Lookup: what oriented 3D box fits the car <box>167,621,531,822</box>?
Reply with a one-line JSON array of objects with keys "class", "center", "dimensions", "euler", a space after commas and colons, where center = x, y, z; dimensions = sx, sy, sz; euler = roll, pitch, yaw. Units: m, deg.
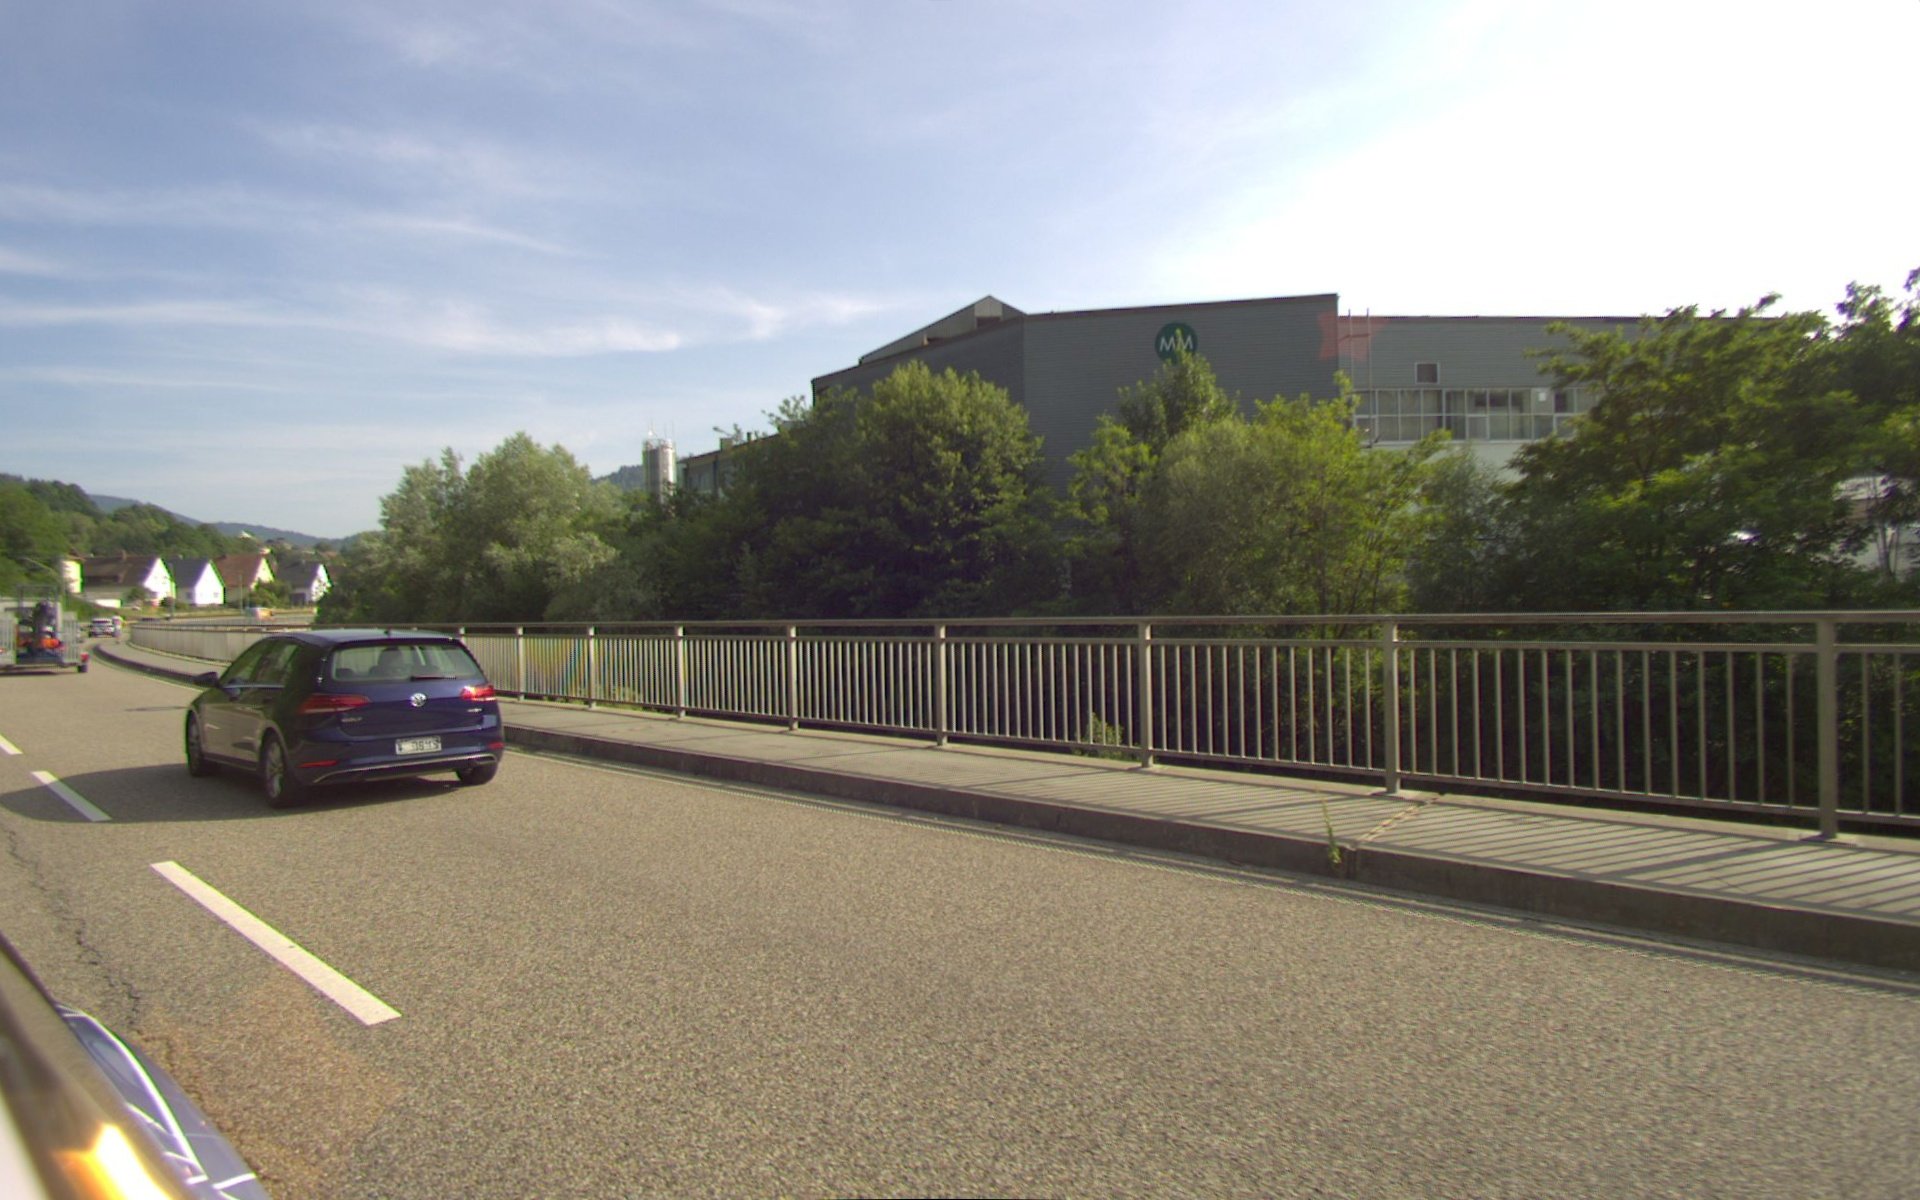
[{"class": "car", "center": [-5.770, 0.925, 9.360], "dimensions": [4.071, 1.442, 1.686], "euler": [-1, -1, 40]}]

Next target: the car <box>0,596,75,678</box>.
[{"class": "car", "center": [-31.888, 1.229, 34.408], "dimensions": [6.579, 2.551, 2.134], "euler": [-2, -1, 44]}]

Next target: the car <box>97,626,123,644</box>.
[{"class": "car", "center": [-75.727, 3.120, 90.217], "dimensions": [1.699, 1.596, 3.506], "euler": [2, -3, -40]}]

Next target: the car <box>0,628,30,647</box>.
[{"class": "car", "center": [-72.848, 2.855, 77.654], "dimensions": [1.626, 1.443, 3.340], "euler": [2, -3, -34]}]

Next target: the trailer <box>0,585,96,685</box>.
[{"class": "trailer", "center": [-27.567, 0.999, 30.279], "dimensions": [5.349, 2.737, 2.098], "euler": [-2, -1, 44]}]

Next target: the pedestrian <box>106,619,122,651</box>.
[{"class": "pedestrian", "center": [-49.123, 2.029, 58.744], "dimensions": [0.709, 1.832, 0.878], "euler": [0, -1, -41]}]

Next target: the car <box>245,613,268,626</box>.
[{"class": "car", "center": [-104.550, 2.832, 150.434], "dimensions": [1.965, 1.874, 4.013], "euler": [0, -1, -21]}]
